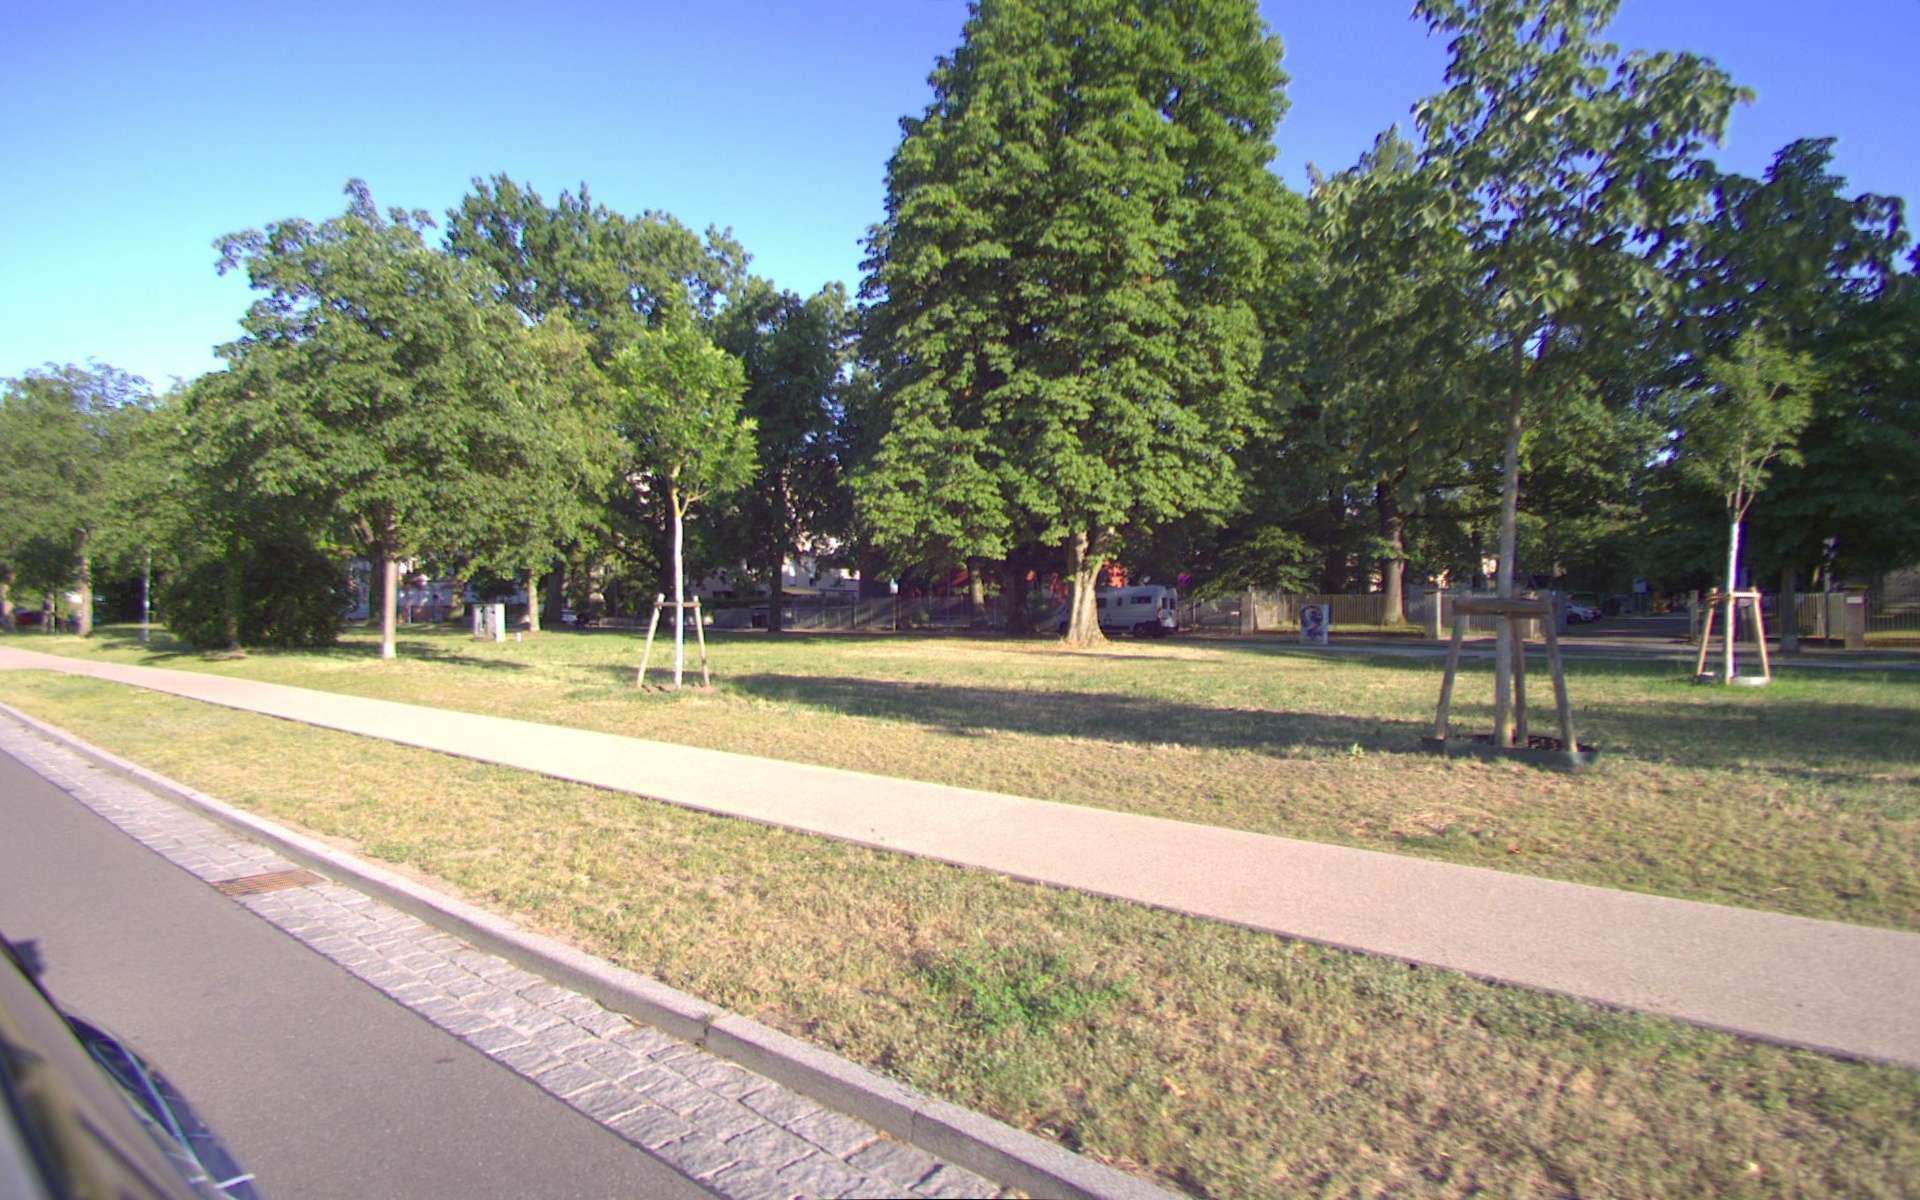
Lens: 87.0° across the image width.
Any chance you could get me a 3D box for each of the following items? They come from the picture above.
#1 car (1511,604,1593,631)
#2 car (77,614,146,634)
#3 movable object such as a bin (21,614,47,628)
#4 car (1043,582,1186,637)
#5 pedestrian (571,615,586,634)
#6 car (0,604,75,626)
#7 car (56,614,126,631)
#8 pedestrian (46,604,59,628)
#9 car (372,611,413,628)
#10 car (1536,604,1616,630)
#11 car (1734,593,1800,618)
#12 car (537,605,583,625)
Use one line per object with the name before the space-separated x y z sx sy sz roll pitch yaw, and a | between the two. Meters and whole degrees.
car | 37.068 1.094 63.426 4.246 1.661 1.610 0 -1 40
car | -70.591 1.981 84.254 1.876 1.586 3.974 1 0 19
movable object such as a bin | -65.564 1.474 71.656 0.949 0.997 1.315 0 -1 42
car | 7.338 0.462 48.477 6.312 2.482 2.694 0 -1 39
pedestrian | -20.158 1.296 53.461 0.541 0.994 0.611 1 -1 -39
car | -72.055 1.158 79.095 1.874 1.586 3.980 1 0 15
car | -75.528 1.958 88.031 1.825 1.411 4.251 0 -1 18
pedestrian | -64.878 1.119 72.362 0.672 1.708 0.655 -1 -1 42
car | -54.548 1.871 97.254 3.728 1.630 1.977 -1 0 34
car | 39.974 1.083 65.697 4.246 1.661 1.610 0 -1 40
car | 70.769 0.488 88.757 4.203 2.074 1.626 0 -1 11
car | -32.687 1.222 82.698 3.736 1.630 1.973 -1 0 41
